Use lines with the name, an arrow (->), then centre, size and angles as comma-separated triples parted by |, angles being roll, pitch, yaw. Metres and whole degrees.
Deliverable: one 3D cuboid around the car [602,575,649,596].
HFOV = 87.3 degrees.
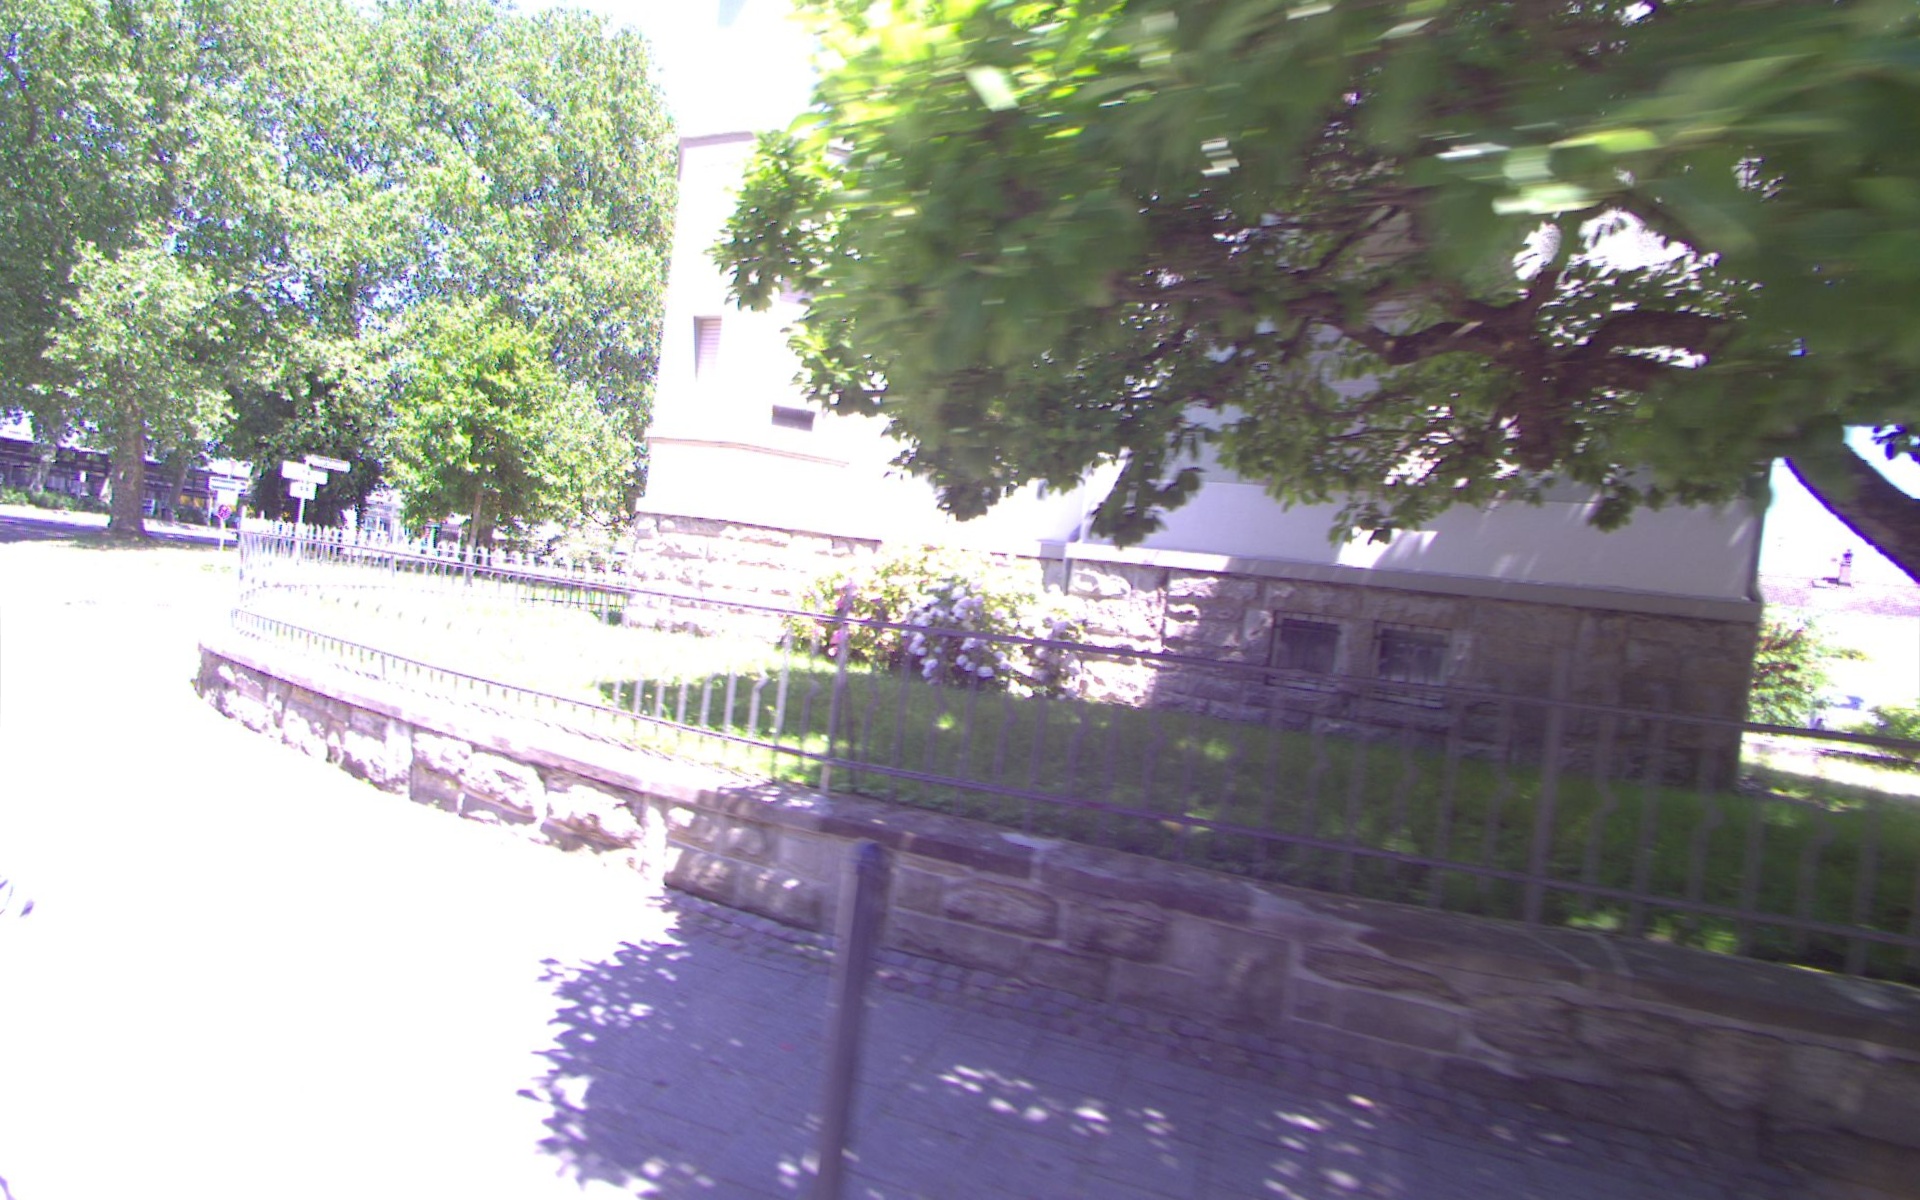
car -> -31.840, -1.347, 95.837 | 1.692, 1.496, 4.788 | 7, -1, 16
